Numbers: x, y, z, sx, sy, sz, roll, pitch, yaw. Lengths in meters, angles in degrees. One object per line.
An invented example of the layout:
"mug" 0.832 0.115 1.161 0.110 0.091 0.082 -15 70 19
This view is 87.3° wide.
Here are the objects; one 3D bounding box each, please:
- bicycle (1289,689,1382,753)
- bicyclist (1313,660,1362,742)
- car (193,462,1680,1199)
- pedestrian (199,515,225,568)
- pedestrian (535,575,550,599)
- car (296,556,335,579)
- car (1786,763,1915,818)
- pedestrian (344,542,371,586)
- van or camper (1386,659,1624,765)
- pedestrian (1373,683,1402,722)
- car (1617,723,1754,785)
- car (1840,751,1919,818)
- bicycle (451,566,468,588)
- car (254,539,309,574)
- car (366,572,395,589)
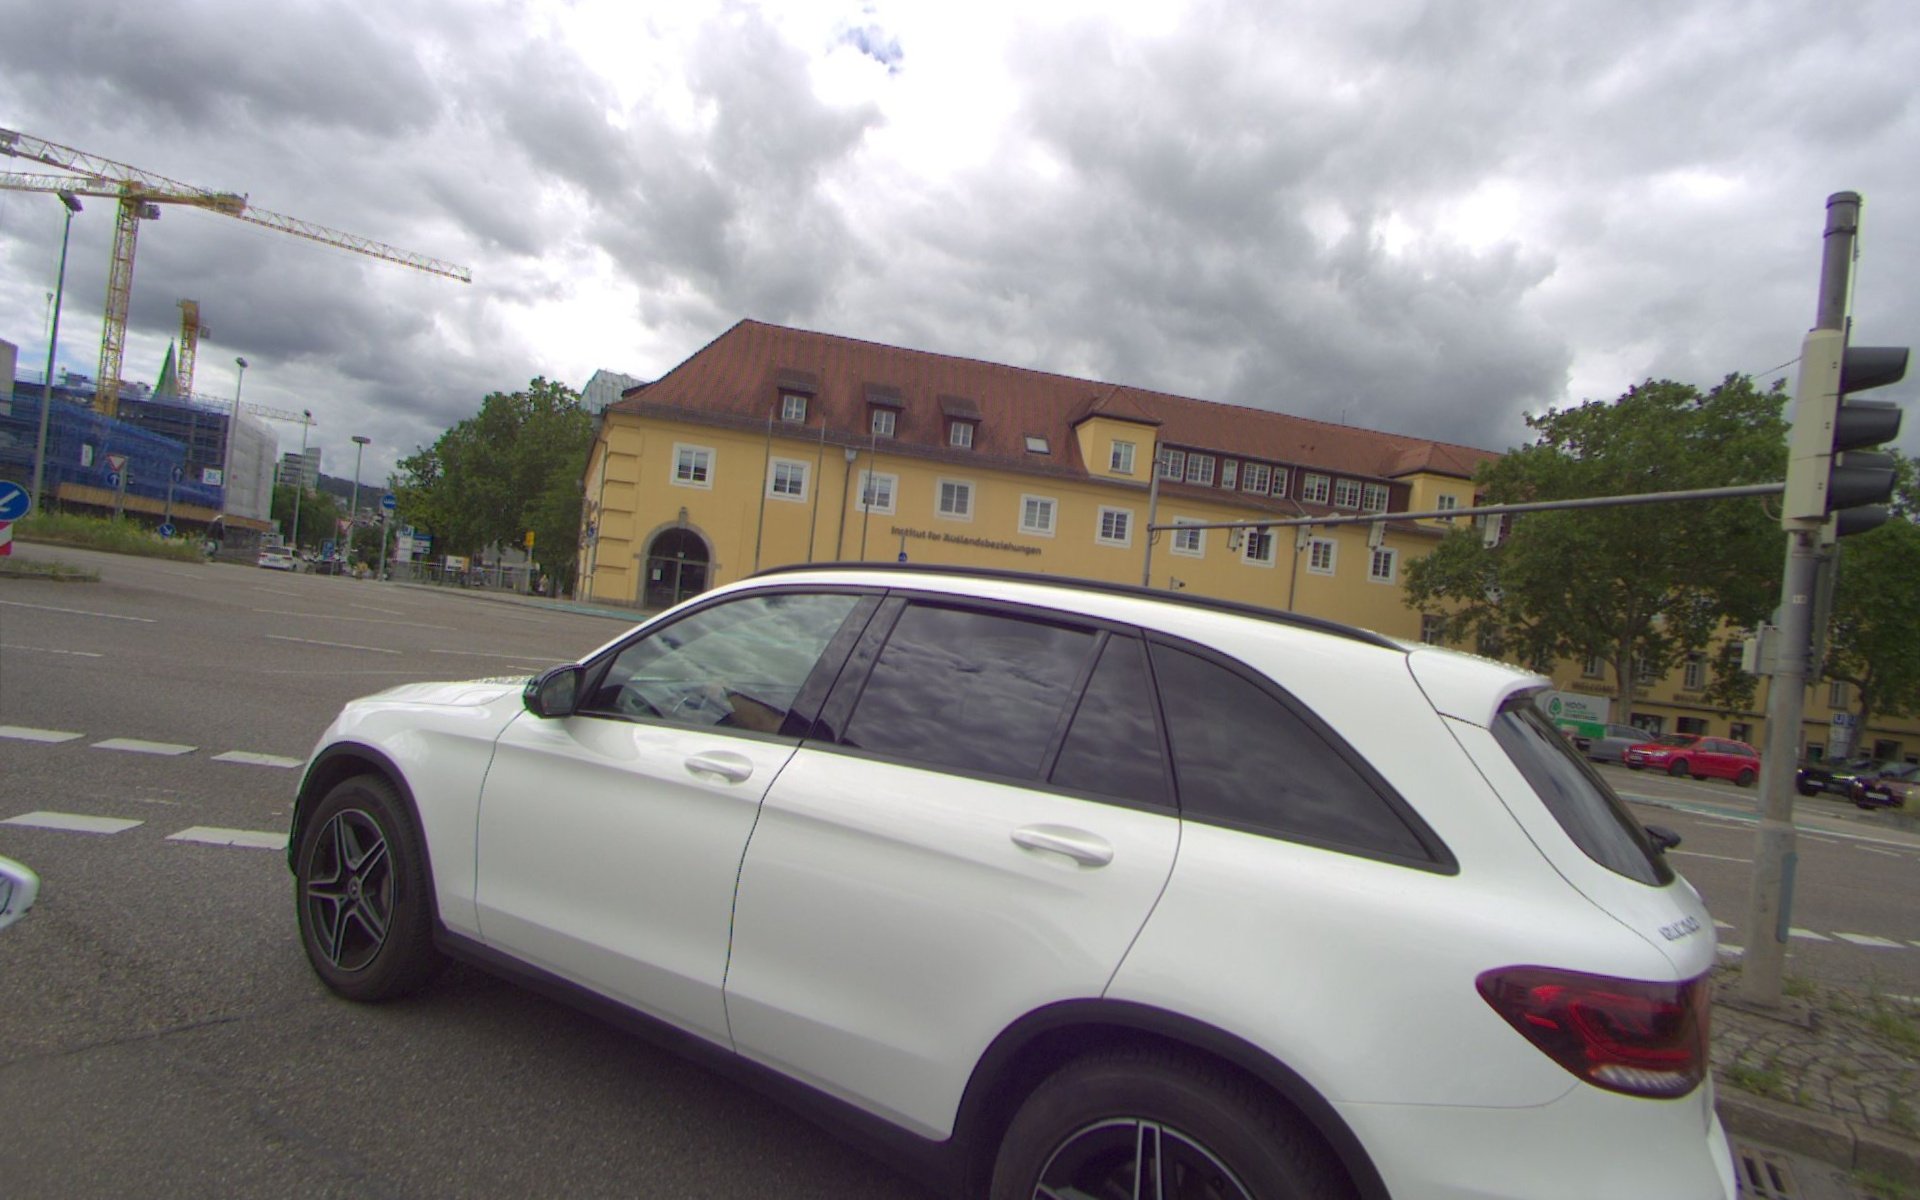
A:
"bicycle" 8.141 2.615 21.839 1.700 1.085 0.504 7 0 32
"bicyclist" 8.192 2.182 21.832 0.710 1.660 0.504 8 1 33
"car" -0.430 0.645 3.334 4.261 1.666 1.805 8 0 31
"pedestrian" -28.478 -2.225 38.301 0.555 1.918 0.631 6 1 -45
"pedestrian" -26.211 -0.816 63.179 0.618 1.467 0.720 7 0 -18
"car" -53.965 -2.732 84.285 1.975 1.654 3.976 8 -1 -24
"car" 30.200 6.462 34.150 3.186 1.250 1.620 8 -1 -11
"pedestrian" -26.441 -1.593 44.160 0.743 1.811 0.822 7 1 -26
"van or camper" 16.901 3.461 31.351 6.183 2.289 2.371 8 0 -10
"pedestrian" 16.558 3.967 38.962 0.570 1.396 0.679 8 0 -14
"car" 23.322 4.946 32.373 3.431 1.371 1.612 8 -1 -13
"car" 25.772 5.043 26.722 3.654 1.416 1.736 8 -1 -14
"bicycle" -28.036 -1.282 56.379 0.613 1.098 1.763 8 -2 -23
"car" -40.703 -2.563 60.447 1.856 1.619 3.982 8 -4 -23
"car" -66.065 -2.207 114.673 1.972 1.654 3.982 8 -1 -20
